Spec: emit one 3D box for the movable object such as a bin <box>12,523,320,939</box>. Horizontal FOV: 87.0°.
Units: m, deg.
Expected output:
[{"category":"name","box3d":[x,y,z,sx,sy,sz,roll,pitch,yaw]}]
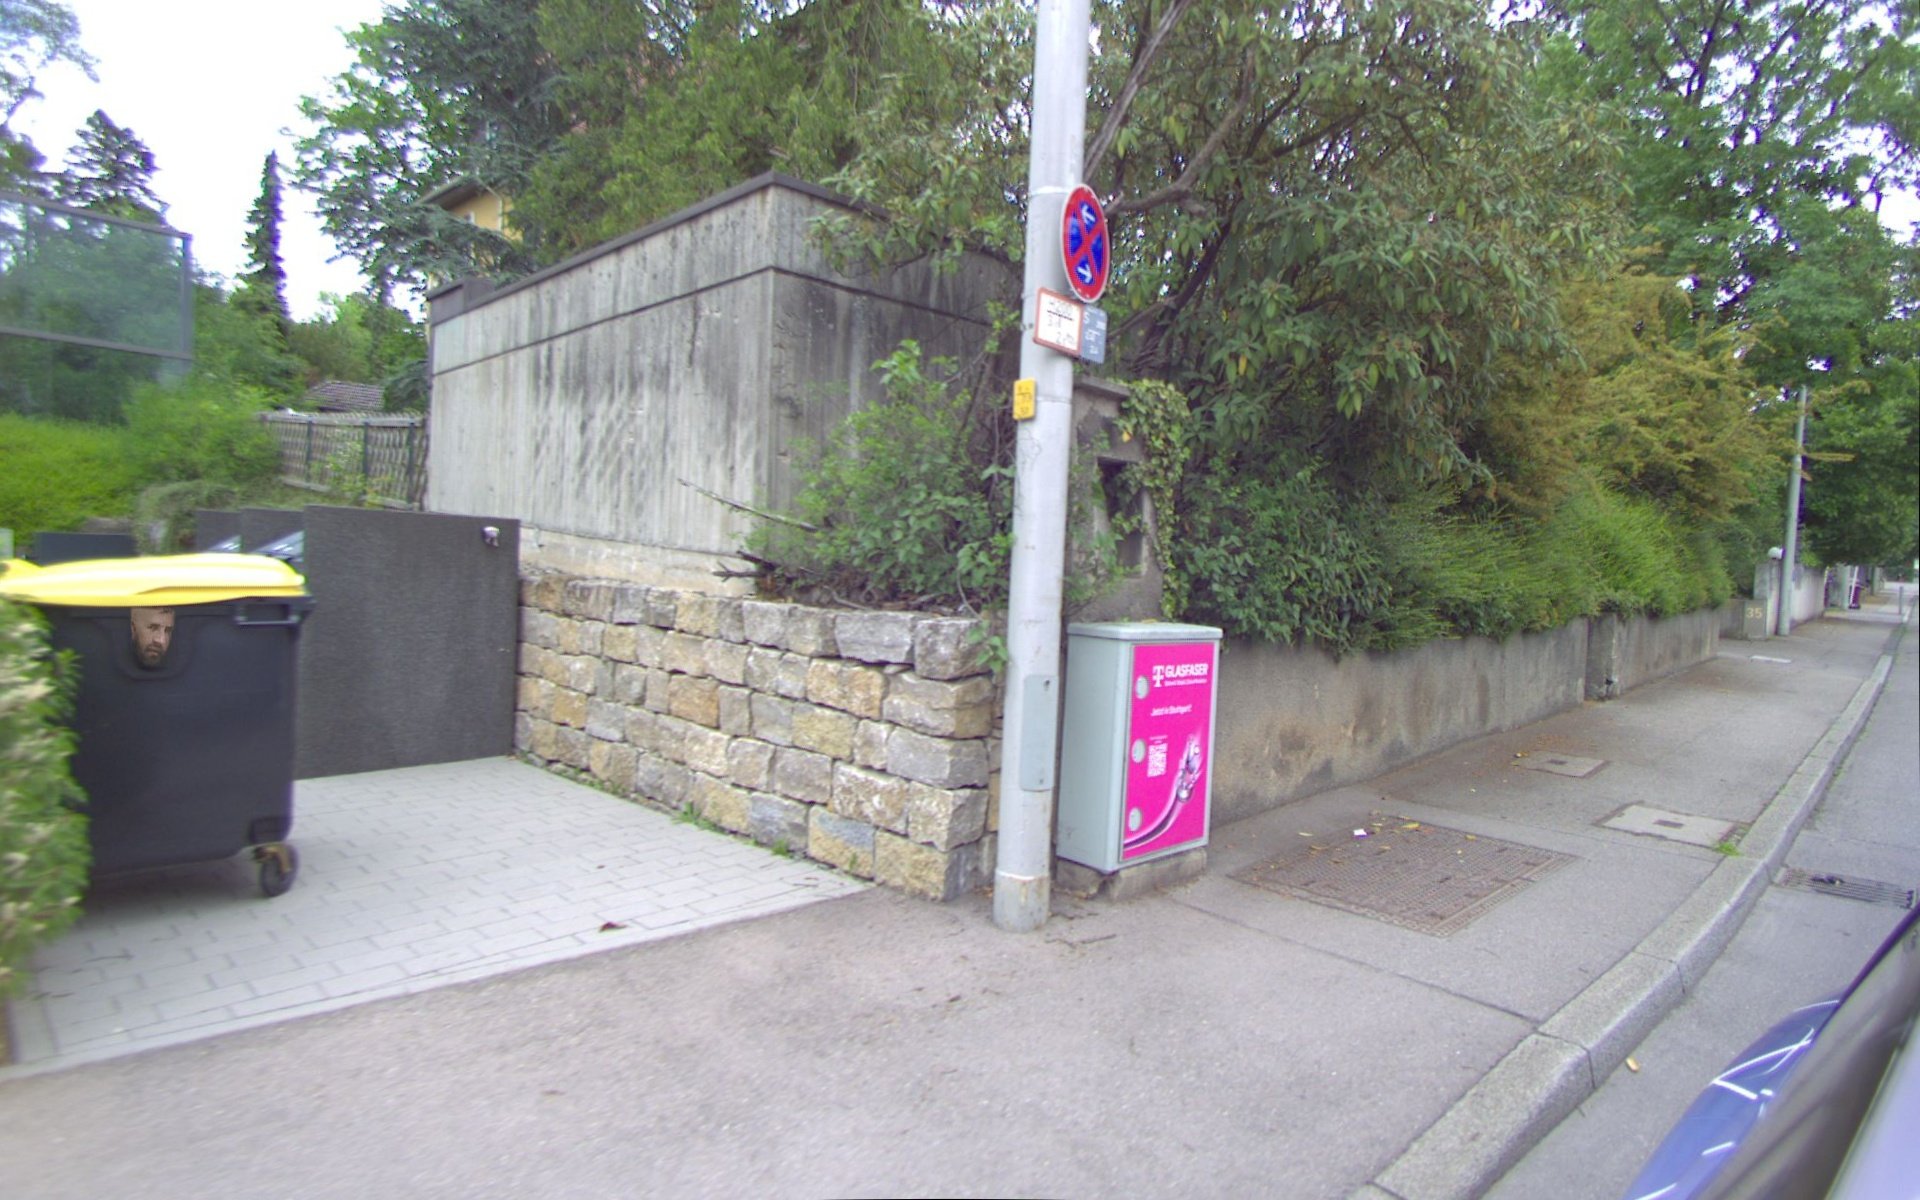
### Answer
[{"category":"movable object such as a bin","box3d":[-3.160,0.413,4.114,0.858,1.380,1.269,0,1,-36]}]
